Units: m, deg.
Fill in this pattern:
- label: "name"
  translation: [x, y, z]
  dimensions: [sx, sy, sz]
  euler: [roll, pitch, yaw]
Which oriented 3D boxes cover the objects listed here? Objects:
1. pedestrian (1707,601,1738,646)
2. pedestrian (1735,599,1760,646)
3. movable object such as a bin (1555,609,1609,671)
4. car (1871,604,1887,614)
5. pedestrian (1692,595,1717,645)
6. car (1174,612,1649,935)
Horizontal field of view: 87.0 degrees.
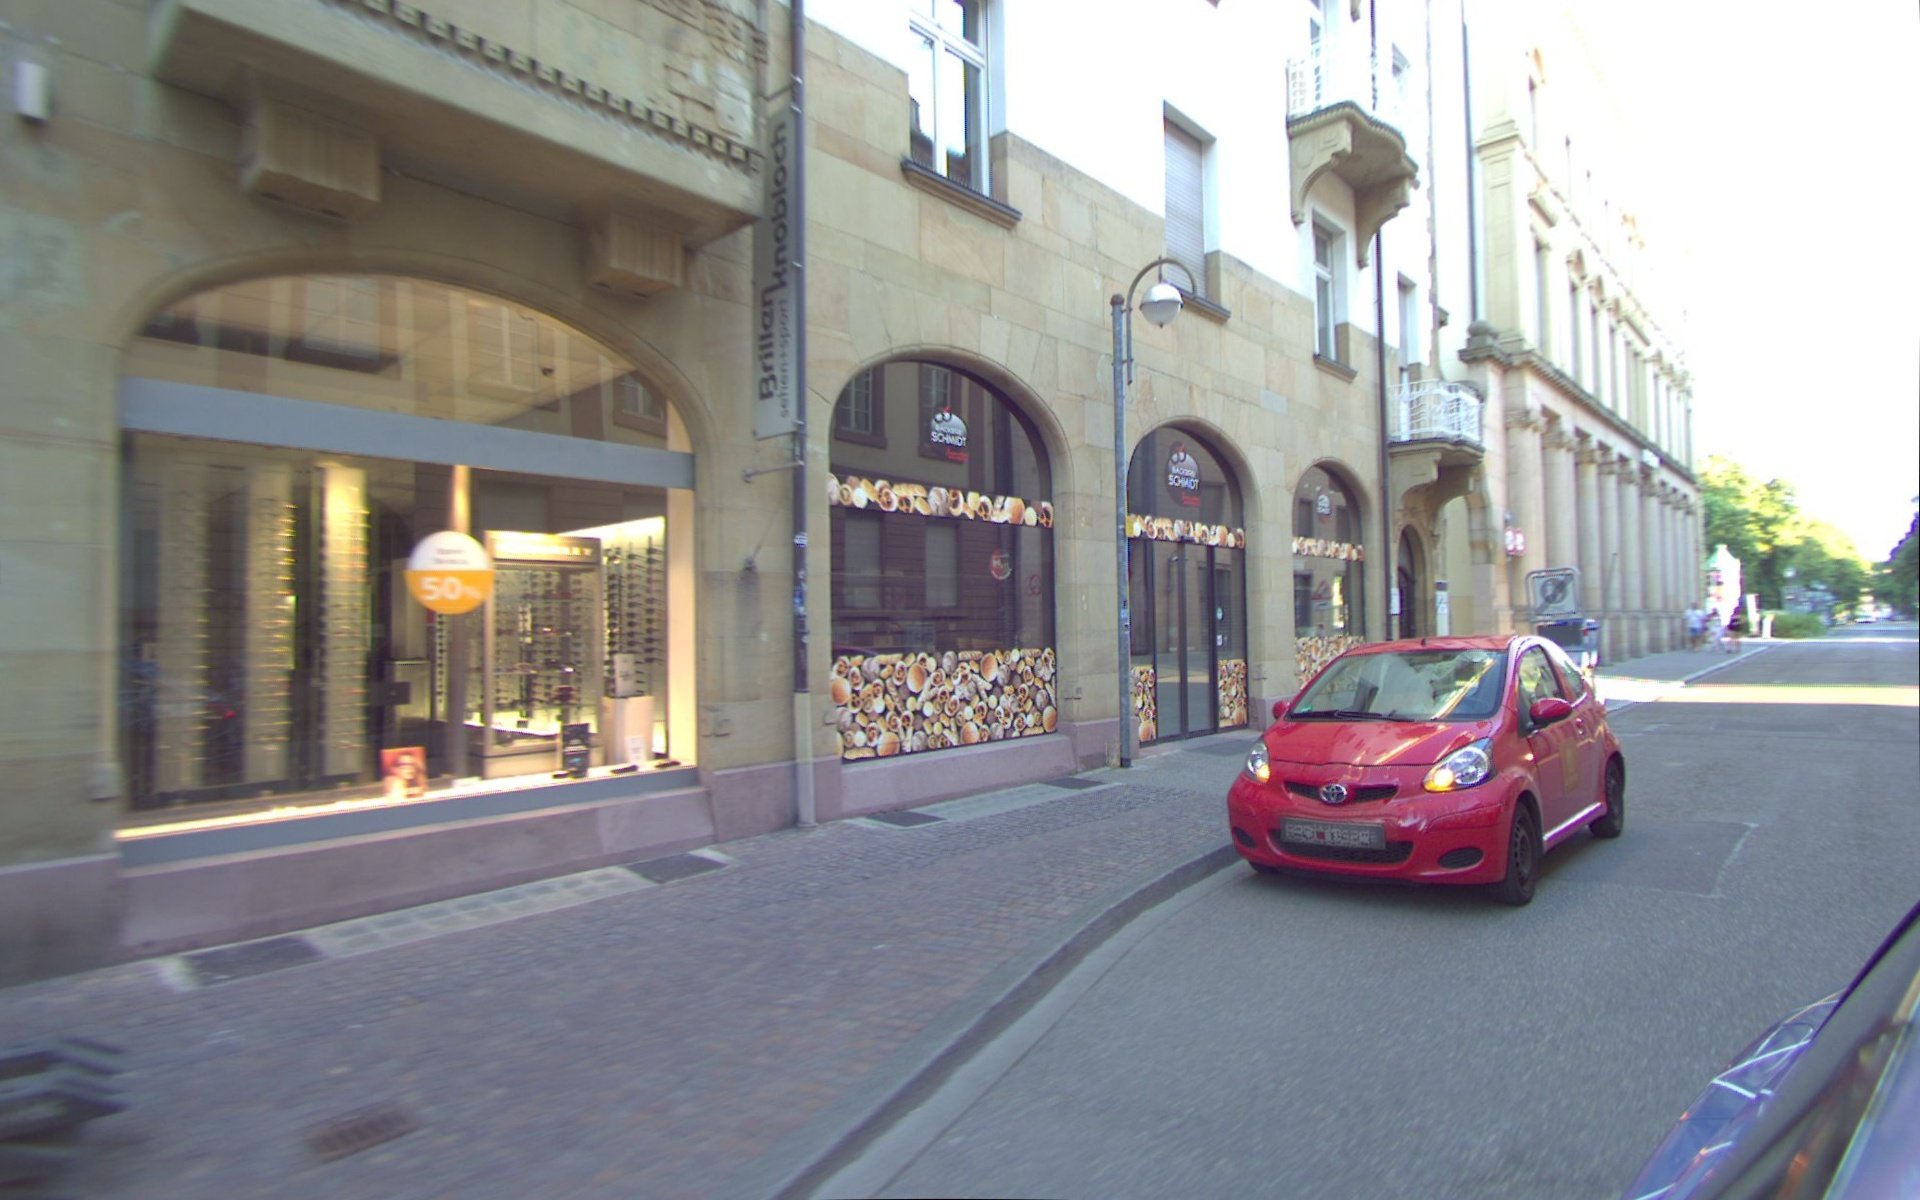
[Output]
- label: "pedestrian"
  translation: [28.726, 0.867, 38.128]
  dimensions: [0.853, 1.618, 0.910]
  euler: [2, 1, 41]
- label: "pedestrian"
  translation: [28.416, 0.805, 36.532]
  dimensions: [0.646, 1.673, 0.747]
  euler: [2, 1, 41]
- label: "movable object such as a bin"
  translation: [14.781, 0.934, 24.054]
  dimensions: [0.896, 1.392, 1.120]
  euler: [1, 1, 42]
- label: "car"
  translation: [153.068, 1.493, 168.584]
  dimensions: [1.853, 1.547, 3.937]
  euler: [-1, -1, 43]
- label: "pedestrian"
  translation: [27.458, 0.710, 37.311]
  dimensions: [0.646, 1.801, 0.747]
  euler: [2, 1, 41]
- label: "car"
  translation: [3.066, 0.869, 6.518]
  dimensions: [1.613, 1.444, 3.540]
  euler: [-6, -4, 44]
